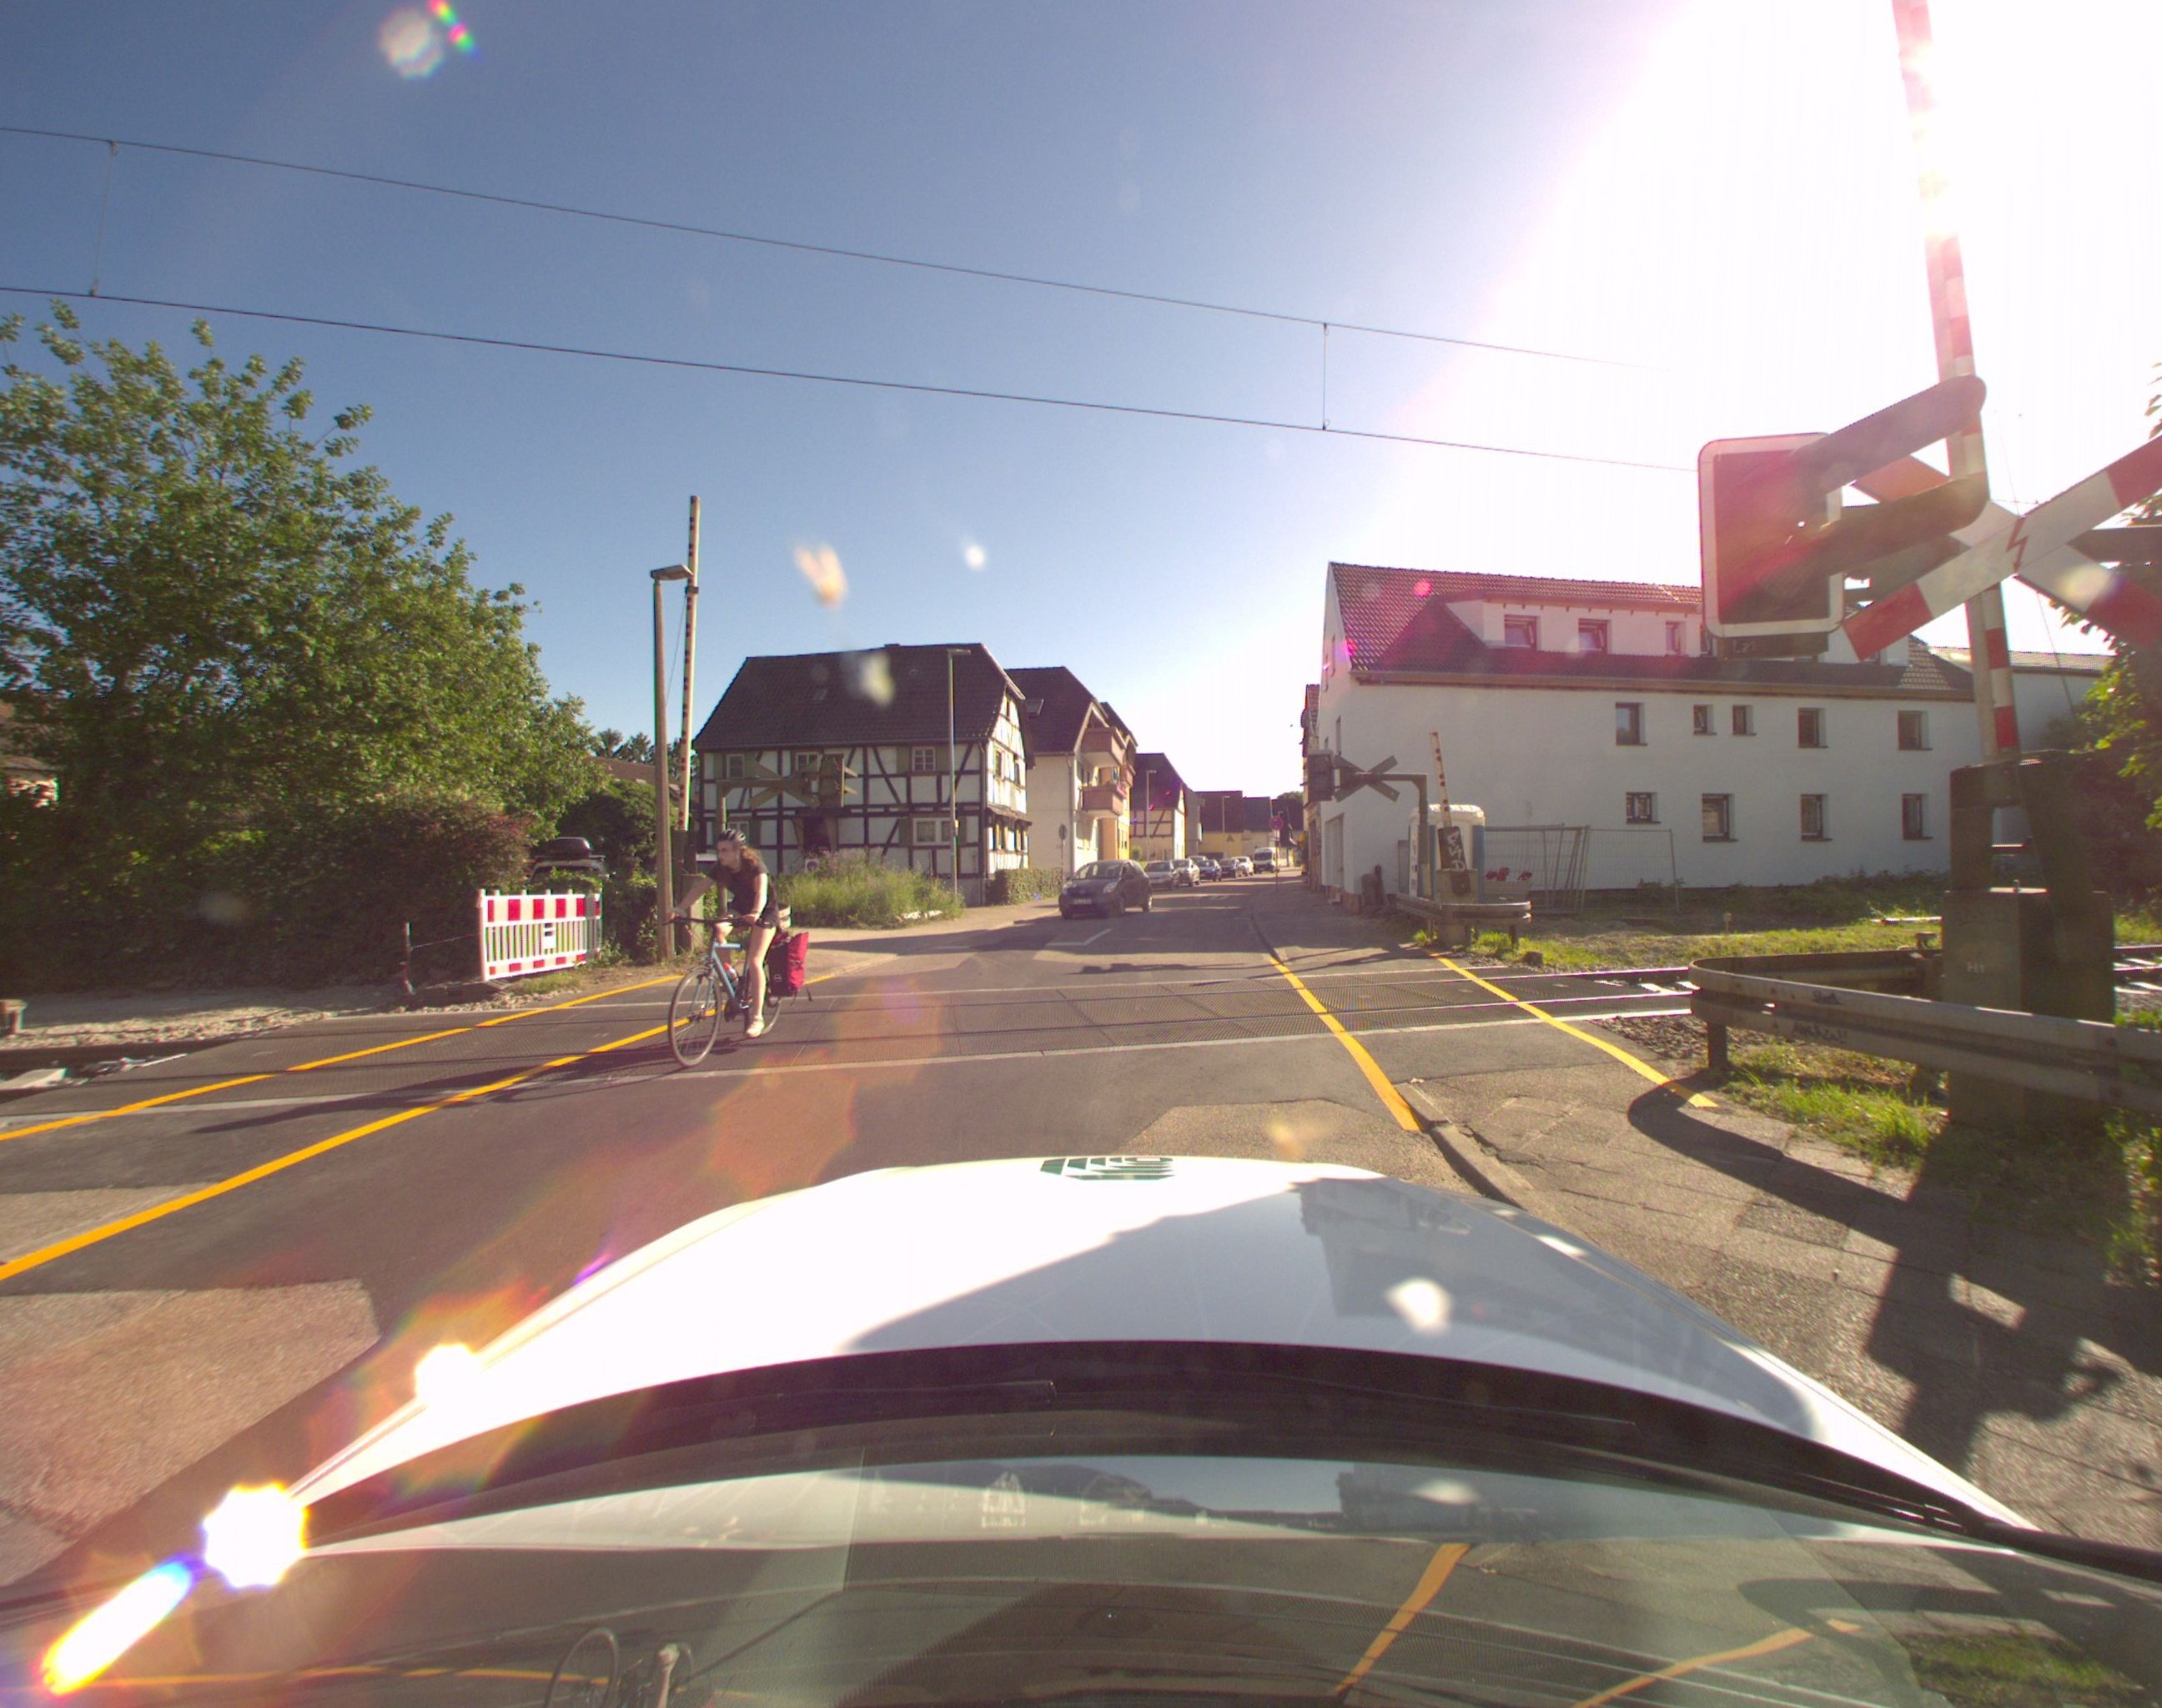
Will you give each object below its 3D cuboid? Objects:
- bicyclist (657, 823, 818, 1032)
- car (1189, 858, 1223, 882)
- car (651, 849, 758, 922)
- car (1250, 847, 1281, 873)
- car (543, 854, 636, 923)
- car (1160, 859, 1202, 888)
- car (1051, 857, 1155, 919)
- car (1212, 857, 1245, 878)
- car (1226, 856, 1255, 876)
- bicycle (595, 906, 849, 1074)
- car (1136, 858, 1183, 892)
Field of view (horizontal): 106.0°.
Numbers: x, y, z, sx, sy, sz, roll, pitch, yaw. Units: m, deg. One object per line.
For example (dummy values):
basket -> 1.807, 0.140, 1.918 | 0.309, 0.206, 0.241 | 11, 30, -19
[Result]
bicyclist -> -2.697, 0.556, 6.476 | 0.843, 1.541, 0.875 | -1, -2, 7
car -> 8.303, 1.034, 53.810 | 1.626, 1.441, 4.092 | -2, -1, 16
car -> -9.090, 0.713, 19.498 | 1.695, 1.564, 3.958 | 2, -1, -34
car -> 17.991, 0.584, 79.085 | 2.059, 2.394, 5.236 | -3, -1, 22
car -> -11.302, 0.712, 18.608 | 1.649, 1.402, 3.791 | 0, 0, -34
car -> 5.624, 1.049, 45.468 | 1.661, 1.506, 4.111 | -2, -1, 16
car -> 0.692, 0.885, 22.456 | 1.671, 1.510, 3.673 | -3, -2, 21
car -> 11.431, 1.026, 62.888 | 1.689, 1.519, 4.143 | -3, -1, 21
car -> 13.169, 0.982, 67.099 | 1.659, 1.572, 3.985 | -3, -1, 20
bicycle -> -2.694, 0.975, 6.449 | 0.879, 1.005, 2.067 | -2, -1, 7
car -> 3.958, 0.994, 40.429 | 1.619, 1.506, 3.868 | -4, -1, 14
